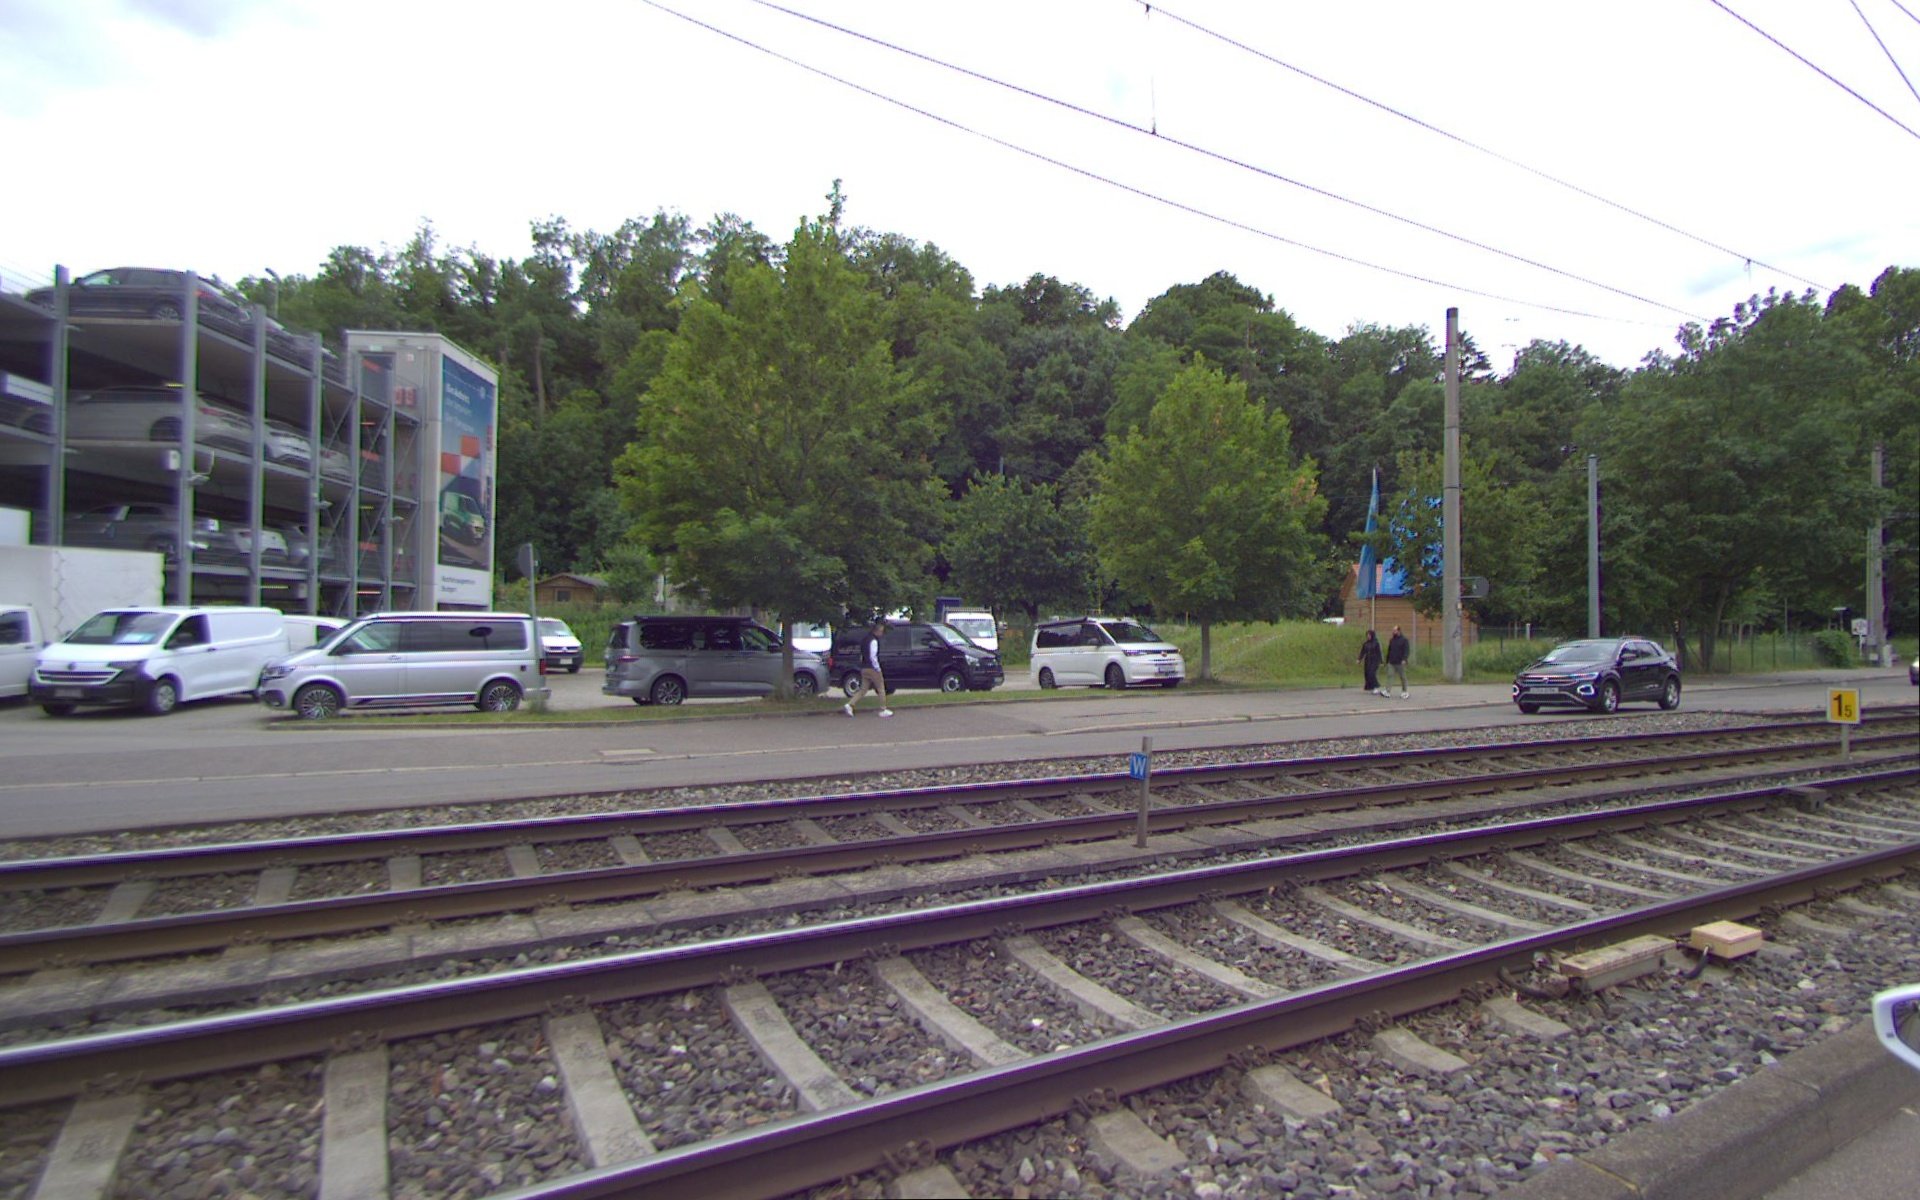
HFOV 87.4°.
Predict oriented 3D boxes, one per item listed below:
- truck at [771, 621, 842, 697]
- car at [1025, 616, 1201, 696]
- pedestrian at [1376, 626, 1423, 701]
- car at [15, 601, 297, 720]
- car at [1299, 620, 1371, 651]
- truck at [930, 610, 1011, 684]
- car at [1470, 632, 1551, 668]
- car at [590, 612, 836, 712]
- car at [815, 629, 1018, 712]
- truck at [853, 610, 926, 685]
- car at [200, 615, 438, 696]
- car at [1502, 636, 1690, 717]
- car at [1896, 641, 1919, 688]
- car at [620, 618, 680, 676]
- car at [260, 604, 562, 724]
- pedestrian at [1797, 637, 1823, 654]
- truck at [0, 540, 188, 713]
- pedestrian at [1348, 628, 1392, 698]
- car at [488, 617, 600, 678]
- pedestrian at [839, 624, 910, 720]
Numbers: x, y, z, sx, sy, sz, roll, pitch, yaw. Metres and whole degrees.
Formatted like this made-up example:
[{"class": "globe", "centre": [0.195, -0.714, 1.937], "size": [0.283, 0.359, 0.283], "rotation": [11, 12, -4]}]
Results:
[{"class": "truck", "centre": [-5.653, 2.161, 37.599], "size": [2.423, 2.622, 5.068], "rotation": [1, -2, -7]}, {"class": "car", "centre": [3.934, 1.414, 26.855], "size": [2.139, 1.913, 5.037], "rotation": [1, -2, -27]}, {"class": "pedestrian", "centre": [11.050, 1.575, 25.266], "size": [0.845, 1.837, 0.673], "rotation": [1, 0, -30]}, {"class": "car", "centre": [-15.427, 1.134, 19.714], "size": [1.962, 2.040, 4.728], "rotation": [1, -2, -5]}, {"class": "car", "centre": [26.484, 2.507, 71.086], "size": [4.317, 2.040, 2.000], "rotation": [1, -1, -1]}, {"class": "truck", "centre": [0.295, 1.770, 38.332], "size": [2.423, 2.622, 5.068], "rotation": [1, -2, -7]}, {"class": "car", "centre": [28.365, 2.553, 51.724], "size": [3.955, 1.773, 1.983], "rotation": [2, -2, -32]}, {"class": "car", "centre": [-5.548, 1.360, 22.851], "size": [5.077, 2.040, 1.981], "rotation": [2, -2, -34]}, {"class": "car", "centre": [-1.147, 1.810, 26.887], "size": [4.973, 2.040, 2.166], "rotation": [0, -2, 21]}, {"class": "truck", "centre": [-2.755, 1.763, 38.036], "size": [2.423, 2.622, 5.773], "rotation": [1, -2, -7]}, {"class": "car", "centre": [-15.403, 1.327, 24.367], "size": [4.383, 1.855, 1.999], "rotation": [1, -2, -6]}, {"class": "car", "centre": [13.468, 1.592, 21.212], "size": [4.210, 1.551, 1.678], "rotation": [2, -5, -33]}, {"class": "car", "centre": [33.511, 2.141, 33.804], "size": [4.210, 1.551, 1.881], "rotation": [2, -5, -33]}, {"class": "car", "centre": [-11.638, 1.746, 37.909], "size": [1.948, 2.040, 4.254], "rotation": [1, -2, -15]}, {"class": "car", "centre": [-10.460, 1.185, 19.341], "size": [4.869, 2.040, 1.981], "rotation": [2, -2, -35]}, {"class": "pedestrian", "centre": [60.390, 3.204, 71.402], "size": [1.059, 1.110, 0.906], "rotation": [3, 0, 10]}, {"class": "truck", "centre": [-18.504, 0.533, 19.819], "size": [2.079, 3.125, 5.938], "rotation": [1, -2, -3]}, {"class": "pedestrian", "centre": [10.604, 1.618, 25.972], "size": [0.845, 1.736, 0.625], "rotation": [1, 0, -30]}, {"class": "car", "centre": [-15.132, 1.652, 36.470], "size": [4.213, 2.040, 1.991], "rotation": [0, 0, 39]}, {"class": "pedestrian", "centre": [-1.571, 1.297, 18.477], "size": [1.034, 1.678, 0.712], "rotation": [1, 1, -40]}]
